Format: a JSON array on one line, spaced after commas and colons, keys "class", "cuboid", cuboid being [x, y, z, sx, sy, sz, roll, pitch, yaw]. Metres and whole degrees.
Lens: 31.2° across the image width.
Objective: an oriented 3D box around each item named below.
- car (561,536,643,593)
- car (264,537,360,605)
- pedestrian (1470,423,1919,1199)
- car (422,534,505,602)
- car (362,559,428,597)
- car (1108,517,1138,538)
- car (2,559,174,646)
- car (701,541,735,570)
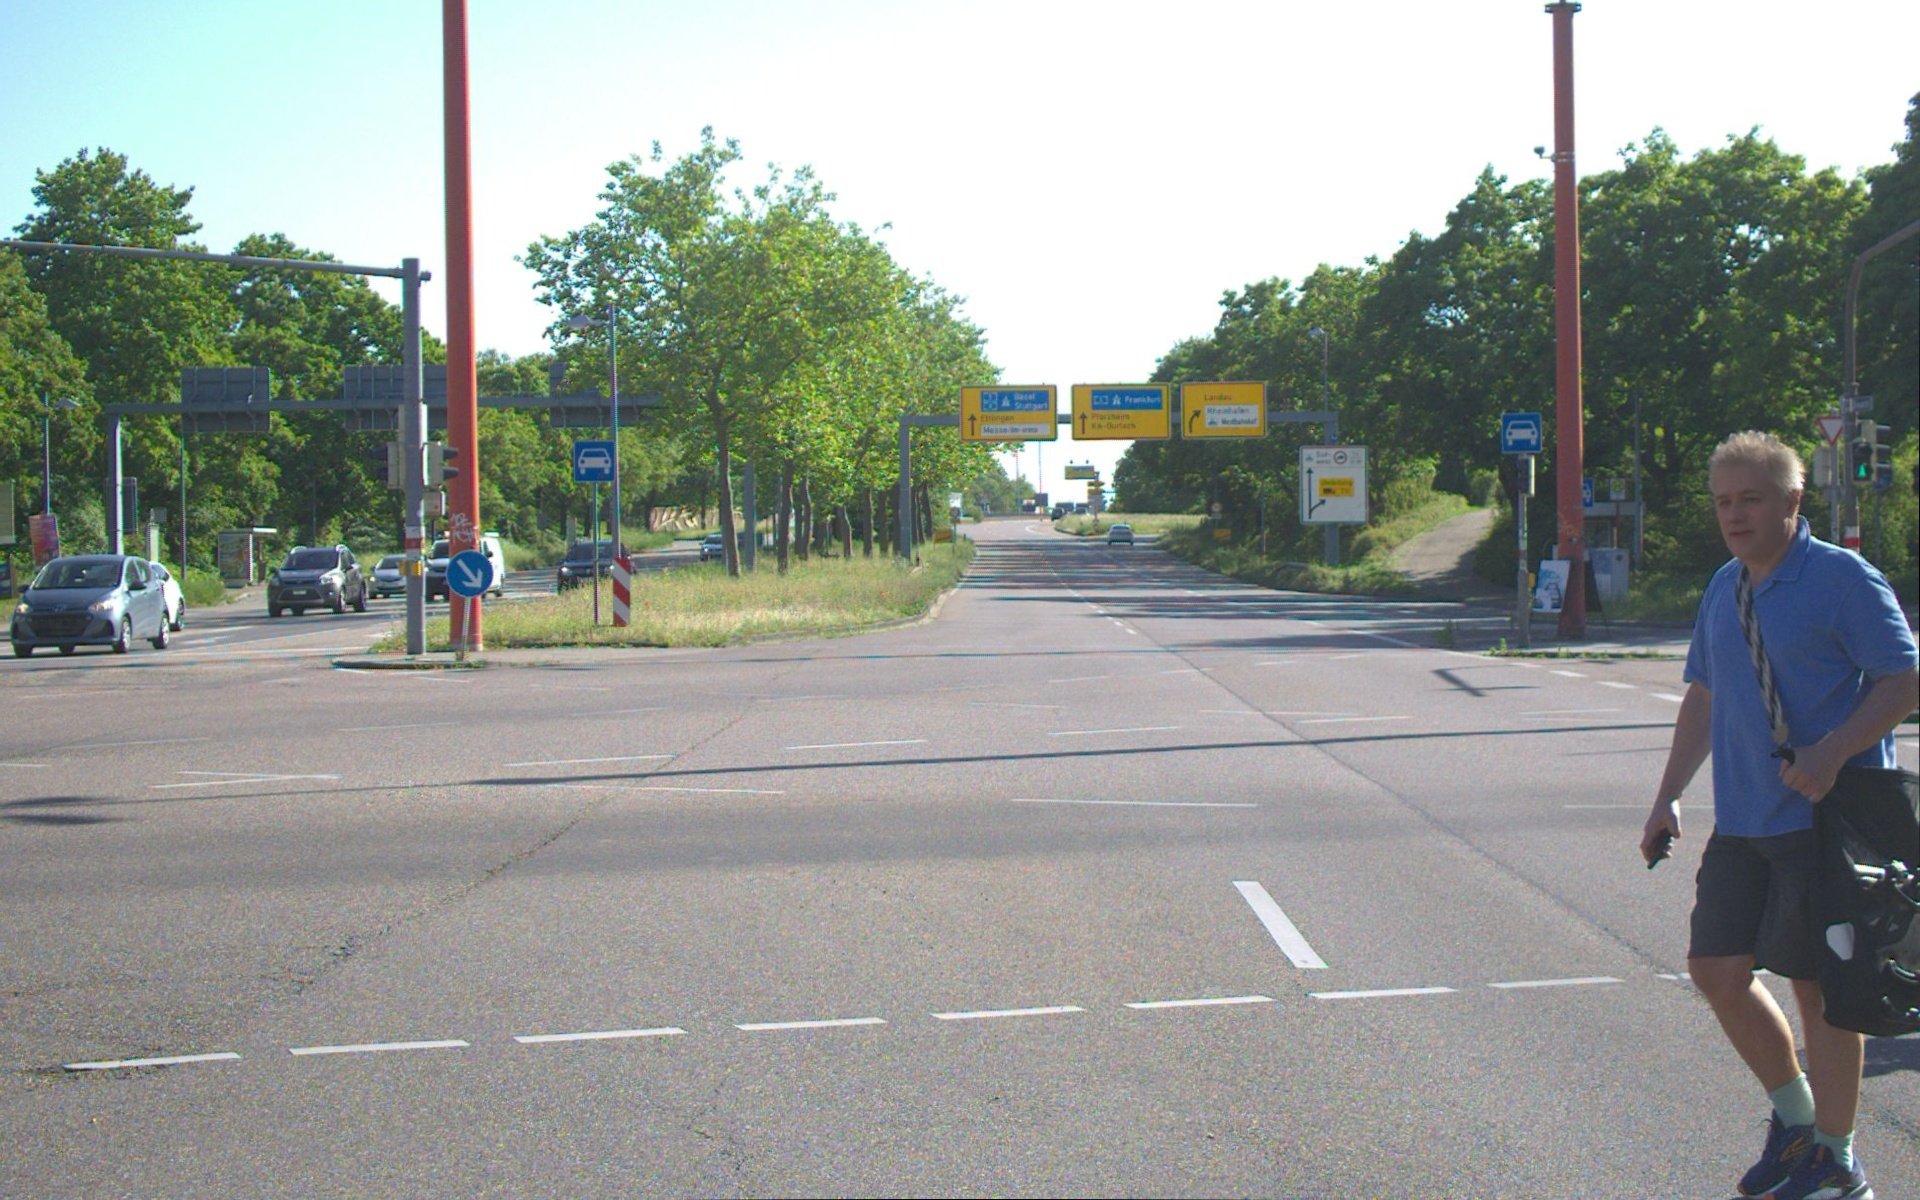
[{"class": "car", "cuboid": [-9.670, -0.978, 93.108, 1.819, 1.503, 4.000, 0, 1, -1]}, {"class": "car", "cuboid": [-15.882, -0.723, 84.423, 1.739, 1.606, 3.613, -1, 1, -1]}, {"class": "pedestrian", "cuboid": [1.847, 0.508, 7.884, 0.984, 1.787, 0.955, -1, 1, -22]}, {"class": "car", "cuboid": [-15.284, -1.000, 106.039, 1.893, 2.019, 5.224, -1, 1, -1]}, {"class": "car", "cuboid": [-19.291, -0.752, 117.406, 1.739, 1.239, 3.613, -1, 1, -1]}, {"class": "car", "cuboid": [11.309, -5.030, 239.030, 1.794, 1.405, 4.000, 1, 1, -1]}, {"class": "car", "cuboid": [-13.118, 0.015, 51.906, 1.739, 1.239, 3.613, -1, 1, -1]}, {"class": "car", "cuboid": [-13.872, -2.562, 197.134, 1.797, 1.634, 4.000, 0, 1, -2]}]
